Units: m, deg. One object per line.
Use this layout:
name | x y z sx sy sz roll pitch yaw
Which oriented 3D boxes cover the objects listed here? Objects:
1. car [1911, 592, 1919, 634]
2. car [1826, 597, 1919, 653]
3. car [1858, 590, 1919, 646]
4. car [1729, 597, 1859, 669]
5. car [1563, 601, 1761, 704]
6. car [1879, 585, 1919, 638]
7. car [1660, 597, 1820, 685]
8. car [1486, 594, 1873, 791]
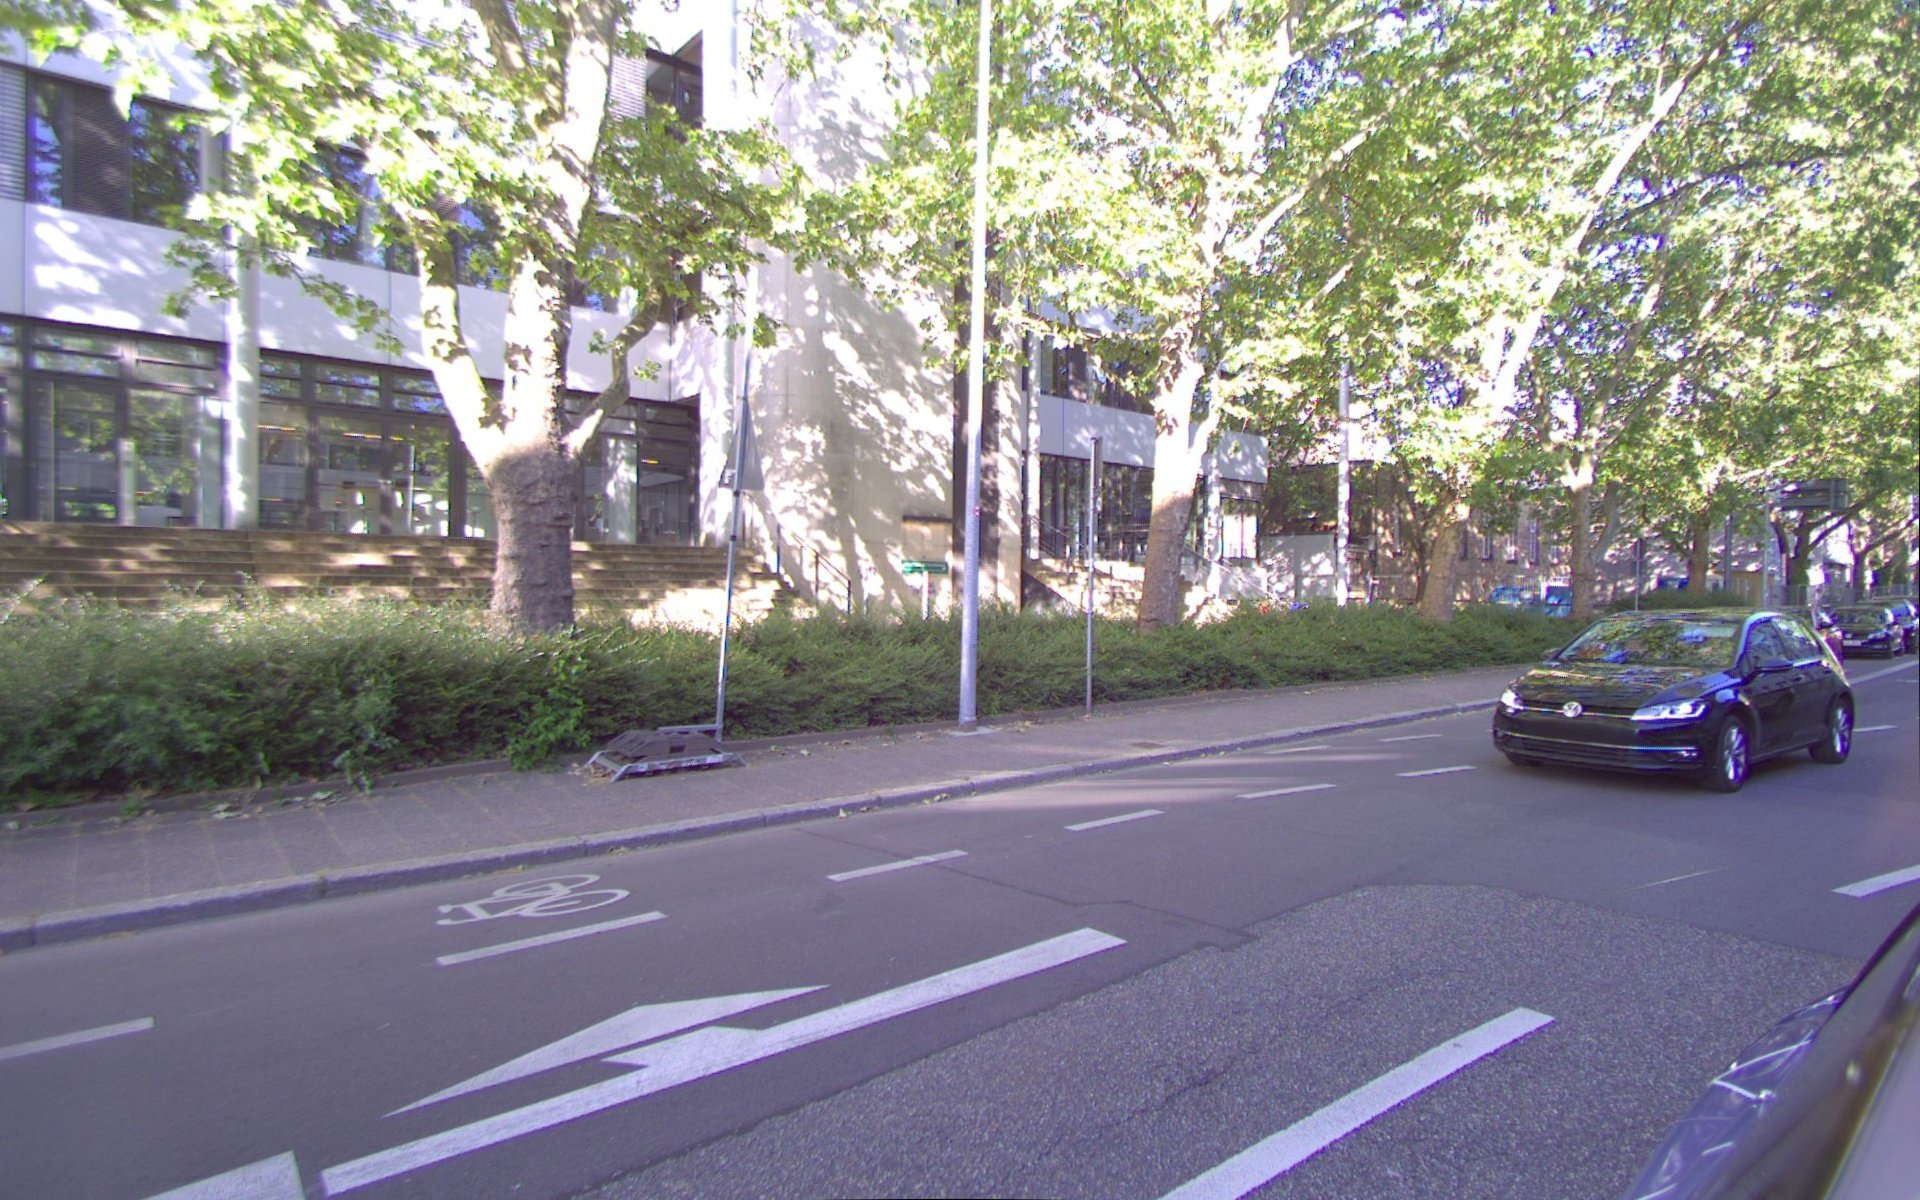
car | 38.710 0.506 39.728 3.801 1.581 1.684 0 1 -41
car | 26.017 0.650 28.702 3.930 1.469 1.684 0 1 -41
car | 29.518 0.519 31.656 3.770 1.640 1.684 0 1 -41
car | 18.614 0.671 22.543 3.715 1.452 1.664 0 1 -41
car | 11.248 0.751 16.121 3.962 1.439 1.722 0 -2 -42
car | 33.973 0.386 35.711 4.354 1.790 1.818 0 1 -41
car | 14.813 0.700 19.148 3.930 1.485 1.684 0 0 -41
car | 6.685 0.678 9.301 3.827 1.459 1.695 0 0 -35
